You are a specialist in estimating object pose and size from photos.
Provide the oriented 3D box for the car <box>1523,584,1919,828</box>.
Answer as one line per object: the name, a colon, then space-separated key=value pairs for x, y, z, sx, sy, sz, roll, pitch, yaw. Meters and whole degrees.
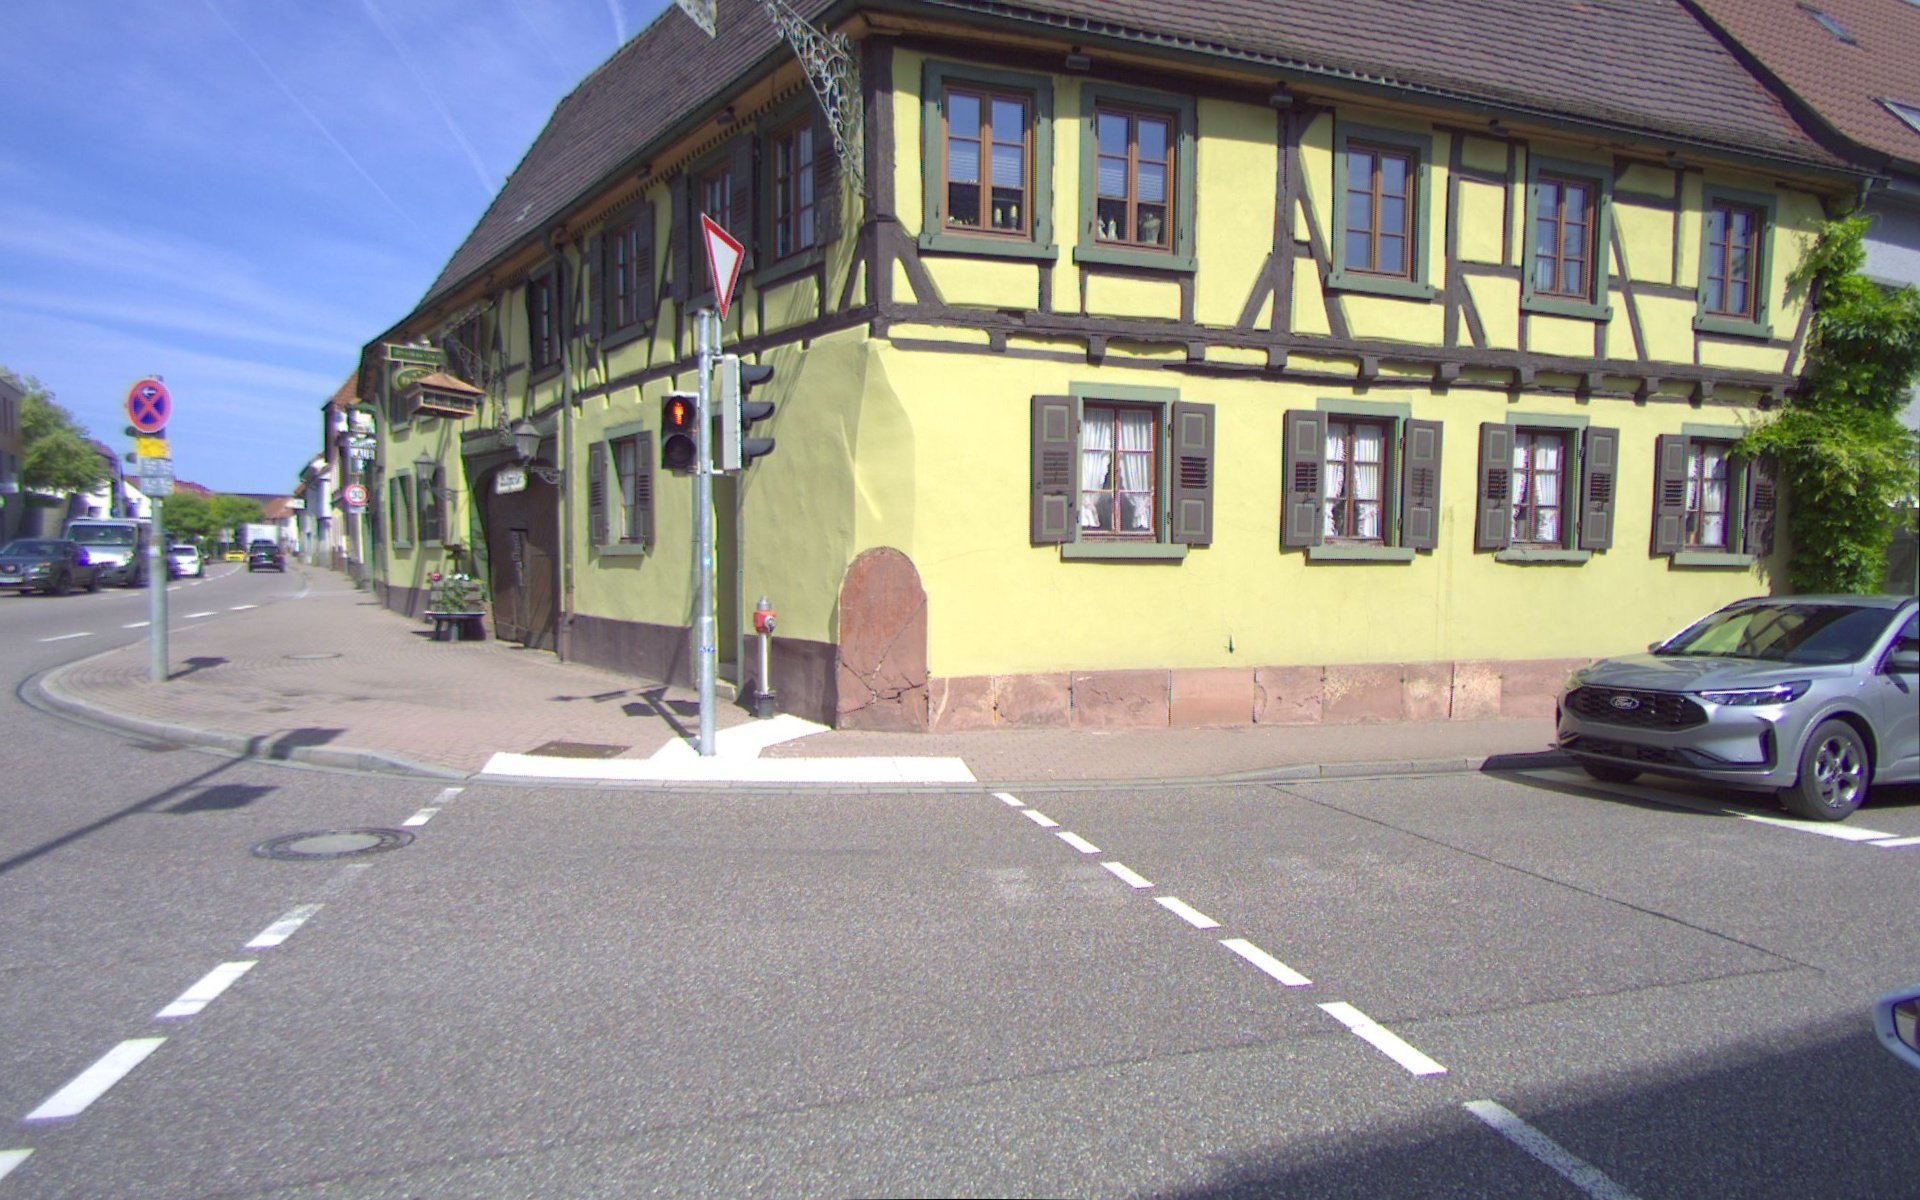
car: x=7.056 y=0.730 z=8.263 sx=4.359 sy=1.631 sz=1.754 roll=1 pitch=1 yaw=-19

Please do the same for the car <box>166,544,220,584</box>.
car: x=-34.909 y=-1.646 z=45.798 sx=1.495 sy=1.648 sz=3.390 roll=2 pitch=1 yaw=-30

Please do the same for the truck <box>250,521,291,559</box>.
truck: x=-72.045 y=-6.245 z=104.877 sx=3.204 sy=3.597 sz=9.133 roll=2 pitch=1 yaw=-36

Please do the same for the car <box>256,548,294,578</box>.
car: x=-42.062 y=-2.287 z=61.638 sx=1.809 sy=1.762 sz=3.963 roll=-1 pitch=3 yaw=-36

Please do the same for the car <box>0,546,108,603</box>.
car: x=-24.948 y=-0.717 z=27.729 sx=1.562 sy=1.402 sz=3.530 roll=2 pitch=1 yaw=-30

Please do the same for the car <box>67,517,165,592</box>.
car: x=-28.282 y=-1.507 z=33.801 sx=1.743 sy=2.276 sz=4.514 roll=2 pitch=1 yaw=-30

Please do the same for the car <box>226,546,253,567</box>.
car: x=-59.385 y=-3.561 z=82.806 sx=1.450 sy=1.599 sz=3.439 roll=2 pitch=1 yaw=-31
